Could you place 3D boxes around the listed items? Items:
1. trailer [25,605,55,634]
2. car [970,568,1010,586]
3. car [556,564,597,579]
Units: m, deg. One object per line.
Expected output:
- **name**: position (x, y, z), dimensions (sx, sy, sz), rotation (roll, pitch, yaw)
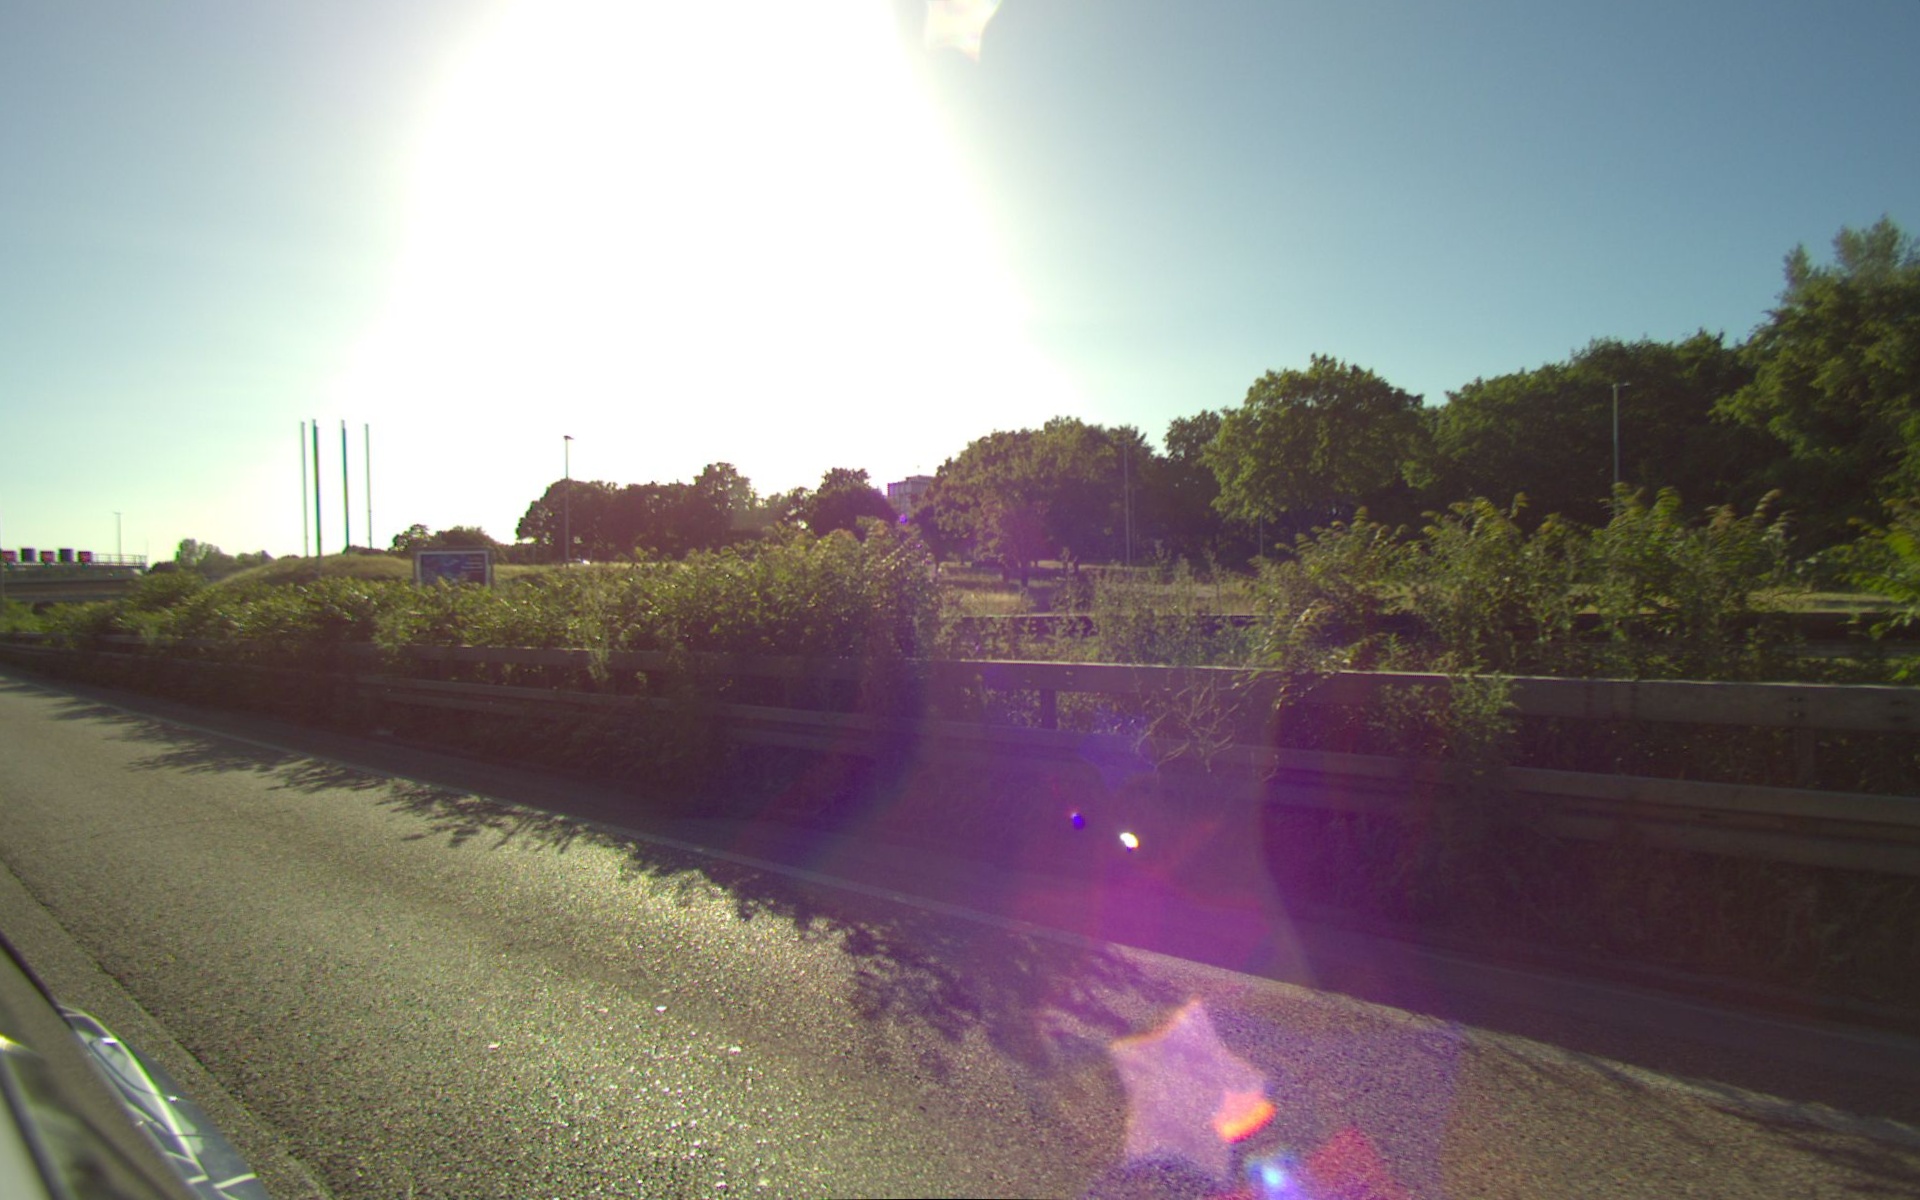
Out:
- **trailer**: position (-137.868, 2.893, 151.630), dimensions (10.702, 4.155, 2.619), rotation (-2, -1, 44)
- **car**: position (3.549, -2.744, 120.631), dimensions (1.969, 2.029, 4.946), rotation (-1, -1, -40)
- **car**: position (-58.643, -4.343, 154.824), dimensions (6.064, 2.029, 2.527), rotation (-1, -1, 27)
